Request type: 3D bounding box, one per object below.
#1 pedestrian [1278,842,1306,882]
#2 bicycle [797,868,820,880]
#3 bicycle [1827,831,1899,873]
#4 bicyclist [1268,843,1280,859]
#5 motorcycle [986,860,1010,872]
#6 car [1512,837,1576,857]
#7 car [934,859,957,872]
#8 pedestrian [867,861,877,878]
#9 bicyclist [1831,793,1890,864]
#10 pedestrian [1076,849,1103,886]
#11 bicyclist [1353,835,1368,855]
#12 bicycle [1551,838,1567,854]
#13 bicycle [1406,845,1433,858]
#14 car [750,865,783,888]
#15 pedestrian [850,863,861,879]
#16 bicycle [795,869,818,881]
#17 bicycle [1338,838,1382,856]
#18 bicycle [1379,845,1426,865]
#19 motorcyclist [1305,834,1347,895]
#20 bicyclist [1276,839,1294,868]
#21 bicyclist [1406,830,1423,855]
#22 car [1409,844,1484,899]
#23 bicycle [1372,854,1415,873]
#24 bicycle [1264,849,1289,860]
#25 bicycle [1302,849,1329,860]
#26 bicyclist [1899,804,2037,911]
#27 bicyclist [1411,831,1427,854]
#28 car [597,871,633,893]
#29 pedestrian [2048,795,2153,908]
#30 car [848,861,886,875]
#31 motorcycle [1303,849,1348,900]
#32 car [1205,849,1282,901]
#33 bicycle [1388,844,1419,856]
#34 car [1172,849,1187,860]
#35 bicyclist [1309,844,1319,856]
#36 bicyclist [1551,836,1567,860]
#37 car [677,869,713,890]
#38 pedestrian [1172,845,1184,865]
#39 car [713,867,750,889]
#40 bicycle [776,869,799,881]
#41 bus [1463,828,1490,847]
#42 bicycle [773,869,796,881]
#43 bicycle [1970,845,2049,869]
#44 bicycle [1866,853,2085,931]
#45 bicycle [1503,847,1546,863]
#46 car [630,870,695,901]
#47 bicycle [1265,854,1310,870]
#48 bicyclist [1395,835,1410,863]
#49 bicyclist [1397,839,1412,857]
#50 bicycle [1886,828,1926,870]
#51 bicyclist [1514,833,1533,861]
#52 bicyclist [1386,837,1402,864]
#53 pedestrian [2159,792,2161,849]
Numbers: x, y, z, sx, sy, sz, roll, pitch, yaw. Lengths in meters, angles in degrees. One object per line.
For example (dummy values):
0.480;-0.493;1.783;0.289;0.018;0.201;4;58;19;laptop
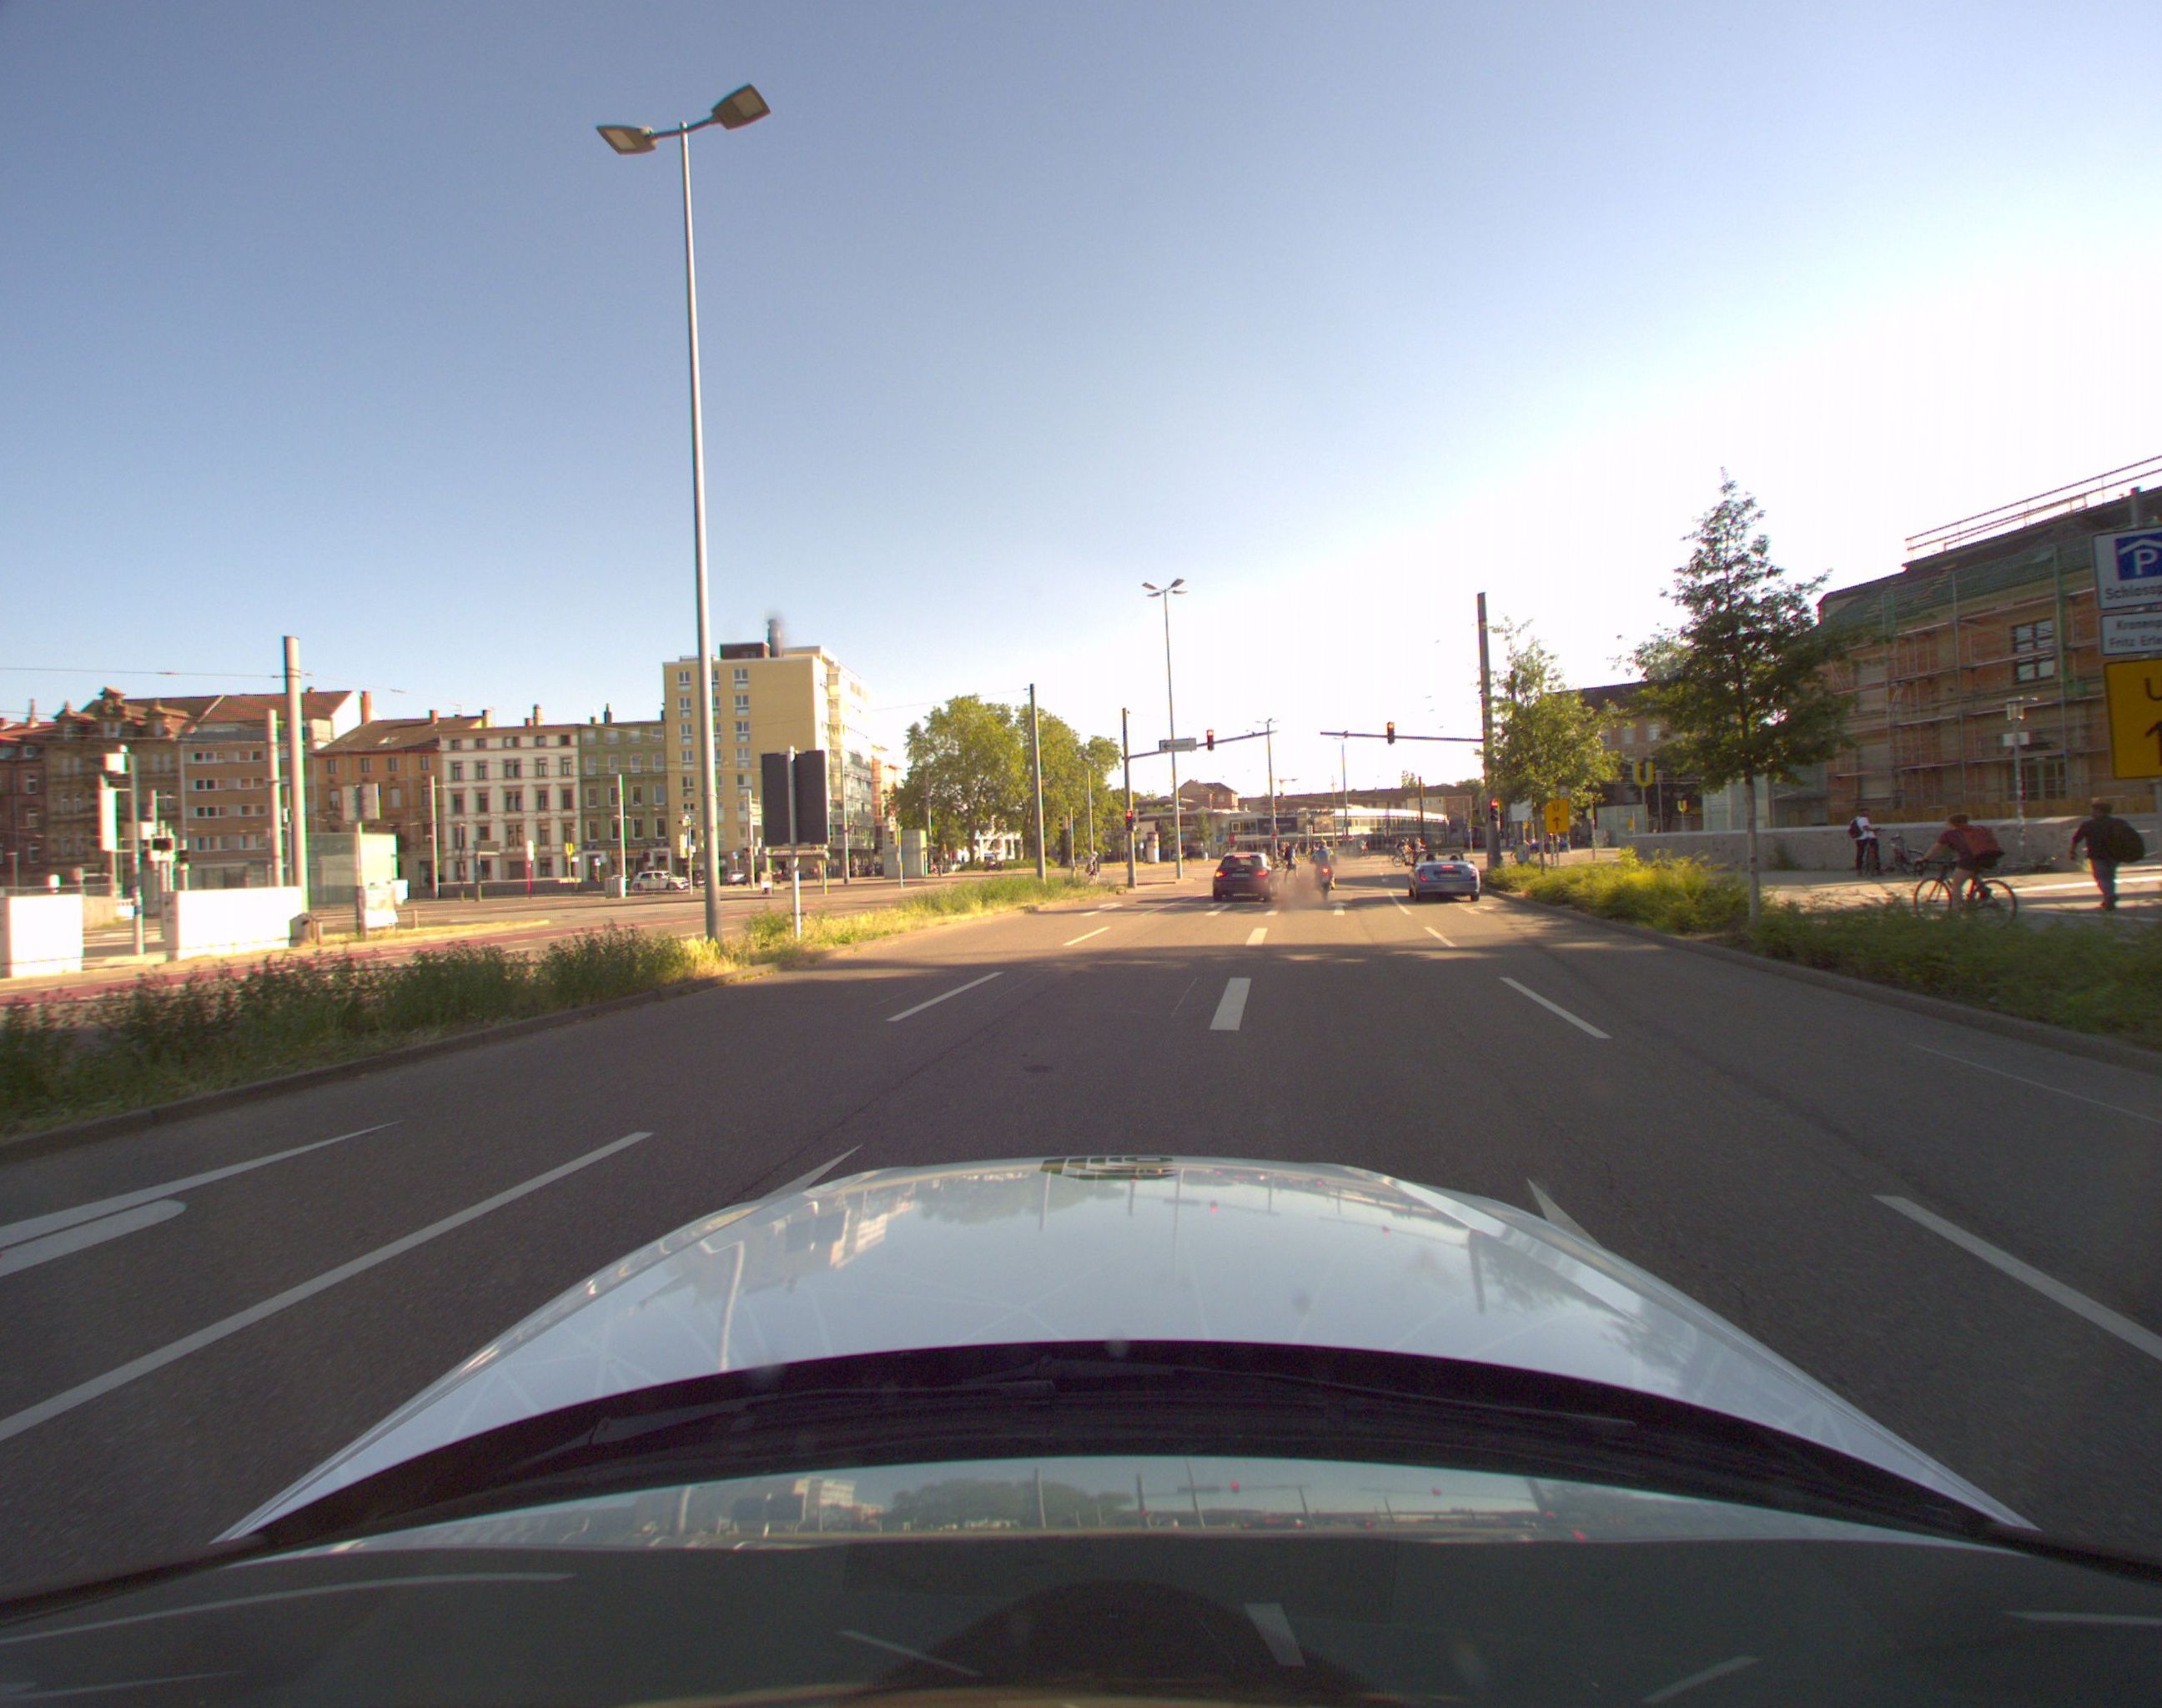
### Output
9.086;0.325;35.088;0.829;1.671;0.694;-2;0;-21;pedestrian
-27.711;2.047;82.902;2.036;1.090;0.777;-3;0;-1;bicycle
20.925;-0.060;21.843;0.782;1.039;1.975;-5;-2;26;bicycle
19.319;-0.301;81.465;0.921;1.559;0.860;-2;2;-2;bicyclist
-8.397;1.185;82.114;2.273;1.054;0.689;-2;2;5;motorcycle
41.263;-0.617;72.655;4.571;1.594;1.960;-2;0;12;car
-16.071;1.336;96.988;1.839;1.452;4.003;-2;0;3;car
-21.828;1.620;85.170;0.773;1.676;0.783;-2;0;1;pedestrian
20.858;-0.669;21.817;0.779;1.786;0.899;-5;-2;26;bicyclist
0.403;0.596;36.695;1.086;1.606;0.700;-2;2;8;pedestrian
28.139;-0.895;82.017;1.066;1.900;1.123;-2;2;0;bicyclist
33.218;-0.521;56.613;0.782;1.039;1.975;-5;-2;26;bicycle
24.818;-0.189;59.757;2.316;0.905;0.850;-4;2;-41;bicycle
-28.633;2.020;74.101;1.861;1.857;3.957;-3;2;-35;car
-23.604;1.784;85.240;0.773;1.676;0.783;-2;0;1;pedestrian
-27.658;2.072;82.055;2.036;1.090;0.777;-3;0;-1;bicycle
28.102;-0.731;82.033;3.974;1.689;1.139;-2;2;0;bicycle
19.558;0.065;49.596;2.479;1.133;0.862;-2;2;7;bicycle
7.135;0.305;23.688;1.087;1.721;0.941;-1;-1;19;motorcyclist
12.220;-0.036;48.811;0.743;1.690;0.859;-2;2;-3;bicyclist
24.290;-0.847;59.326;0.588;1.778;0.856;-2;-1;-41;bicyclist
10.538;0.447;23.458;1.784;1.444;4.001;-1;0;25;car
20.409;0.616;53.208;2.484;1.133;0.860;-2;2;0;bicycle
19.569;0.033;81.469;2.289;0.979;0.860;-2;2;-1;bicycle
22.718;0.053;78.934;2.294;0.959;0.858;-3;2;-8;bicycle
12.075;0.053;11.129;0.716;1.384;1.078;-1;-1;8;bicyclist
24.827;-0.828;59.756;0.655;1.690;0.850;-3;2;-40;bicyclist
-42.374;2.529;73.999;2.098;1.719;3.963;-3;2;-41;car
15.569;-0.047;12.469;0.798;1.658;0.795;0;1;34;pedestrian
-24.977;1.639;95.258;3.979;1.422;1.810;-2;0;-4;car
7.160;0.572;23.740;1.087;1.377;2.666;-1;0;20;motorcycle
5.086;0.602;25.059;1.786;1.444;3.997;-1;0;19;car
28.833;-0.335;72.862;2.428;1.003;0.964;-2;0;3;bicycle
15.426;0.076;127.376;1.980;1.534;4.015;-2;2;13;car
22.582;-0.409;78.911;0.712;1.143;0.835;-2;2;-8;bicyclist
33.228;-0.396;56.604;0.782;1.593;0.953;-5;-2;26;bicyclist
-34.975;2.278;73.726;1.849;1.719;3.953;-3;2;-41;car
9.440;0.089;79.003;0.981;1.816;0.924;-2;2;17;pedestrian
-31.641;2.148;73.651;1.850;1.748;3.951;-4;2;-43;car
-29.838;2.134;82.874;2.036;1.090;0.777;-3;0;-1;bicycle
62.221;-2.601;127.976;2.331;2.883;9.640;-3;0;34;bus
-29.833;2.150;82.002;2.036;1.090;0.777;-3;0;-1;bicycle
22.613;0.073;19.862;0.427;0.540;1.359;-4;0;5;bicycle
12.087;0.488;11.147;0.715;0.952;2.254;-1;-1;8;bicycle
27.589;0.068;50.651;2.294;0.905;0.858;-2;2;-8;bicycle
-31.238;2.344;60.841;3.723;2.013;2.000;-2;2;-1;car
12.369;0.481;48.832;2.487;0.874;0.859;-2;2;-3;bicycle
19.563;-0.318;49.588;0.645;1.690;0.862;-2;2;8;bicyclist
28.927;-0.547;72.865;0.919;1.559;0.964;-2;0;3;bicyclist
21.892;-0.142;21.635;0.620;1.039;1.975;-5;-2;44;bicycle
27.503;-0.435;50.612;0.649;1.690;0.858;-2;2;-7;bicyclist
20.433;-0.226;53.197;0.647;1.690;0.860;-2;2;1;bicyclist
26.799;-0.678;19.381;0.981;1.724;0.937;-2;0;-1;pedestrian
